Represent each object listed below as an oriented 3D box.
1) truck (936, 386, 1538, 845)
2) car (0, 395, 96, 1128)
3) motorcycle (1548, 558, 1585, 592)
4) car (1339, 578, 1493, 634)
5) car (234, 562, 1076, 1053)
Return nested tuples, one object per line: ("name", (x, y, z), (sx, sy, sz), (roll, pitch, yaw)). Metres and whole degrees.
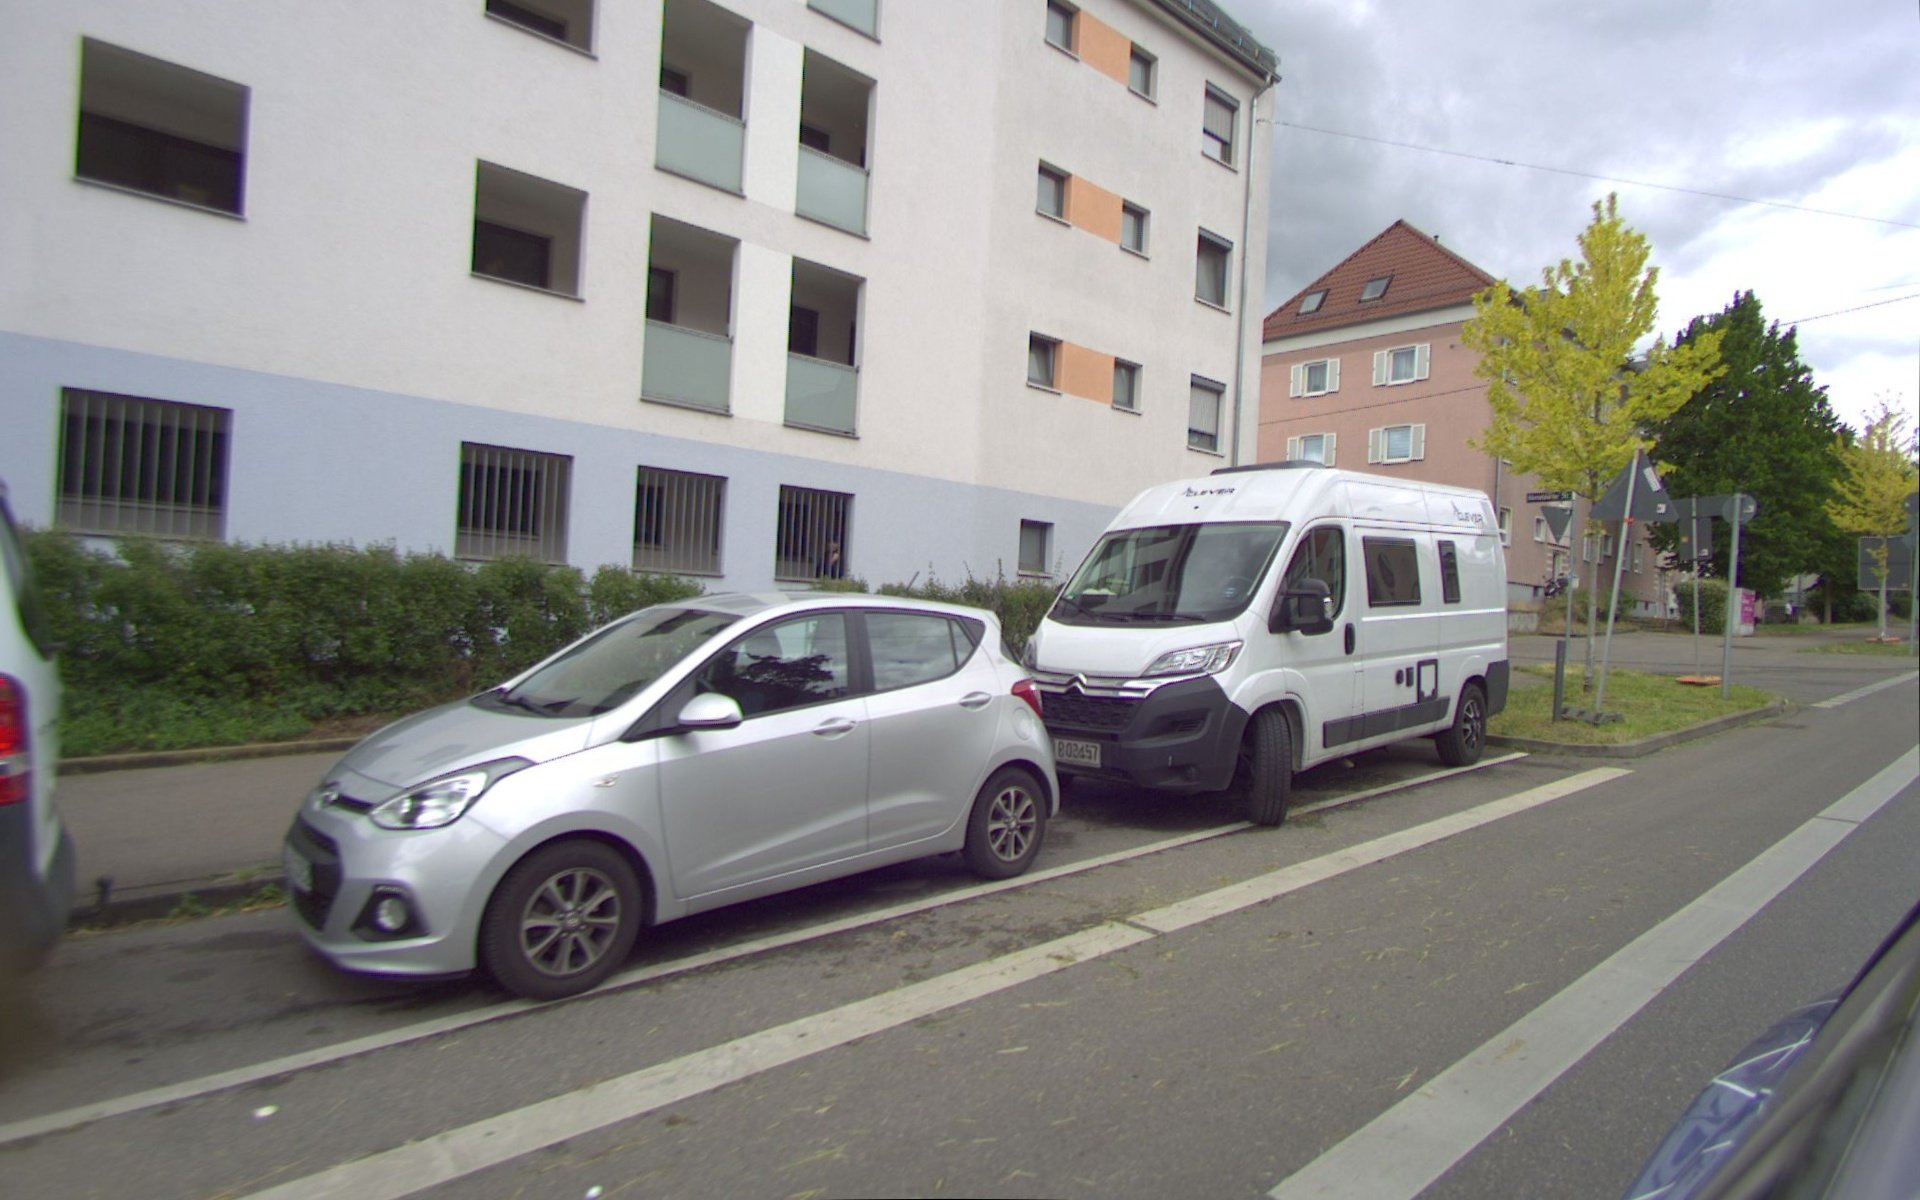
("truck", (2.609, 0.079, 8.368), (5.591, 2.598, 2.056), (0, 1, -42))
("car", (-5.011, 0.403, 1.903), (5.120, 1.968, 1.997), (0, 1, -41))
("motorcycle", (22.678, -0.933, 37.841), (1.933, 1.243, 0.591), (0, 1, -41))
("car", (13.945, 0.133, 31.117), (1.659, 1.470, 3.997), (-2, 4, -40))
("car", (-1.187, 0.641, 4.946), (3.664, 1.504, 1.526), (0, 0, -44))
